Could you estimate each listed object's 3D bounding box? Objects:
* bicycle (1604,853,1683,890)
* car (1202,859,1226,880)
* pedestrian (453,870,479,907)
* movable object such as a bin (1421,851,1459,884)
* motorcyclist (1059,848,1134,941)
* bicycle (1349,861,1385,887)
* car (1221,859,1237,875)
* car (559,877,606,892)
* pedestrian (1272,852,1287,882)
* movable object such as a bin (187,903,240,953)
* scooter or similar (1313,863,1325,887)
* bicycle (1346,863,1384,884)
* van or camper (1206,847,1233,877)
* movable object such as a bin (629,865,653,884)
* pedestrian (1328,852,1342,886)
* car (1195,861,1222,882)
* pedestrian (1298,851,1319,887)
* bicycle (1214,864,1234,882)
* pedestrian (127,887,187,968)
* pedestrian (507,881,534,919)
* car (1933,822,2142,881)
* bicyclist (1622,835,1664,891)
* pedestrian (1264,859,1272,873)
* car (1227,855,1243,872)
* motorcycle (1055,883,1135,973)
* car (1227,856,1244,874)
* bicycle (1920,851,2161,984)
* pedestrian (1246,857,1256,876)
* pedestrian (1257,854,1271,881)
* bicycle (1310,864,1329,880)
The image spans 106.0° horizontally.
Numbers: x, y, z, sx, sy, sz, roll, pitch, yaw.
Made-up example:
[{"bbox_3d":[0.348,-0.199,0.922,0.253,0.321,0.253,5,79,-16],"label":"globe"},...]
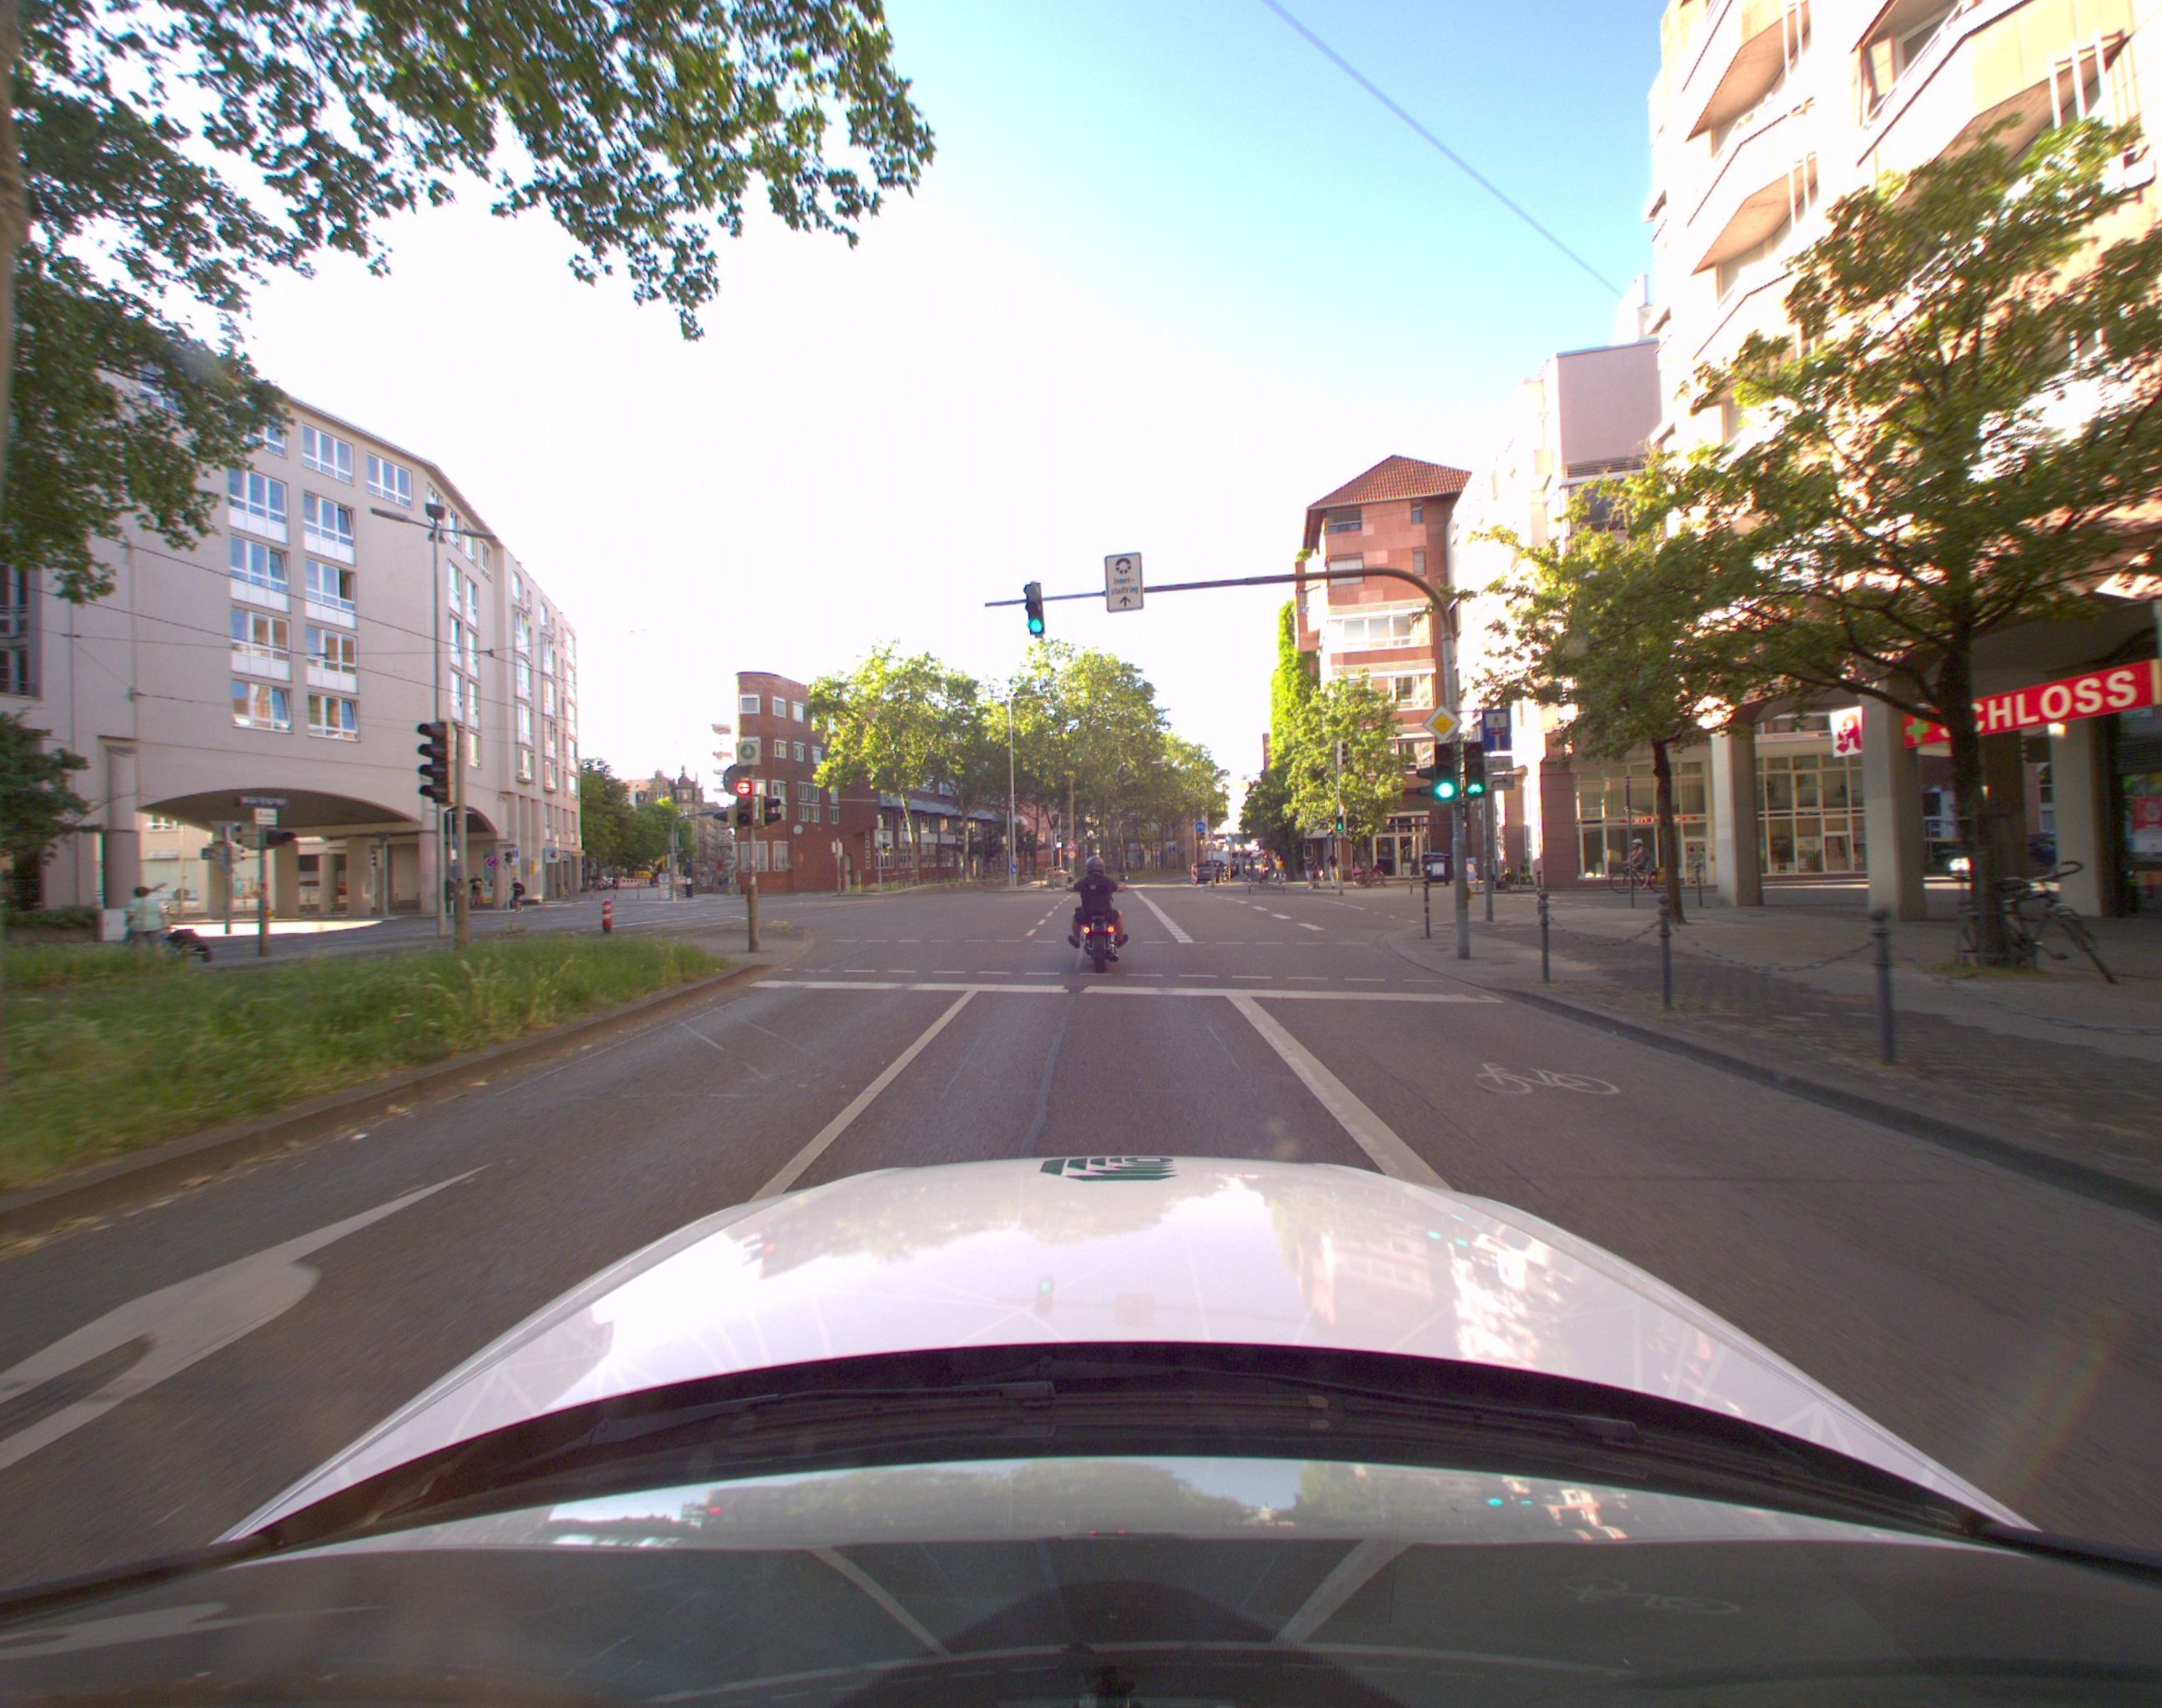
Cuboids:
[{"bbox_3d":[18.176,0.556,26.357,1.903,1.113,0.806,-2,-1,10],"label":"bicycle"},{"bbox_3d":[10.785,1.218,65.906,1.609,1.619,4.499,-2,-1,12],"label":"car"},{"bbox_3d":[-34.770,1.937,46.041,0.836,2.014,0.883,-1,-1,-15],"label":"pedestrian"},{"bbox_3d":[16.260,0.607,36.930,1.400,1.482,0.875,-2,-1,14],"label":"movable object such as a bin"},{"bbox_3d":[0.238,0.555,11.535,1.007,1.263,0.775,1,0,4],"label":"motorcyclist"},{"bbox_3d":[13.910,0.955,39.633,1.558,1.227,0.579,-2,-1,8],"label":"bicycle"},{"bbox_3d":[15.473,1.310,85.062,1.610,1.610,3.785,-2,-1,10],"label":"car"},{"bbox_3d":[-50.655,3.102,82.881,4.013,1.400,1.980,-1,-1,-31],"label":"car"},{"bbox_3d":[11.426,0.751,46.978,0.697,1.733,0.769,-2,-1,6],"label":"pedestrian"},{"bbox_3d":[-17.293,1.465,16.243,0.506,0.953,0.542,-2,-1,15],"label":"movable object such as a bin"},{"bbox_3d":[11.876,1.039,40.610,0.392,1.158,1.252,-2,-1,8],"label":"scooter or similar"},{"bbox_3d":[14.878,1.024,42.664,1.730,1.053,0.744,-2,-1,30],"label":"bicycle"},{"bbox_3d":[12.357,0.715,72.288,2.035,2.541,5.792,-2,-1,12],"label":"van or camper"},{"bbox_3d":[-55.764,2.589,103.252,1.928,2.310,2.776,-2,-1,-12],"label":"movable object such as a bin"},{"bbox_3d":[12.484,0.734,40.078,0.457,1.672,0.681,-2,-1,4],"label":"pedestrian"},{"bbox_3d":[8.763,1.175,55.747,1.610,1.302,4.324,-2,-1,11],"label":"car"},{"bbox_3d":[11.314,0.763,40.503,0.783,1.763,0.610,-2,-1,0],"label":"pedestrian"},{"bbox_3d":[8.567,1.126,48.837,0.736,1.053,1.748,-2,-1,-7],"label":"bicycle"},{"bbox_3d":[-17.823,1.412,15.713,0.613,1.503,0.537,-2,-1,15],"label":"pedestrian"},{"bbox_3d":[-28.680,2.348,41.695,0.848,1.869,0.756,-2,-1,19],"label":"pedestrian"},{"bbox_3d":[30.947,-0.050,26.487,4.158,1.722,1.807,-2,-1,10],"label":"car"},{"bbox_3d":[18.184,0.296,26.355,0.820,1.770,0.790,-2,-1,10],"label":"bicyclist"},{"bbox_3d":[19.090,1.246,83.029,0.760,1.445,0.782,-1,-1,11],"label":"pedestrian"},{"bbox_3d":[19.248,1.165,101.398,1.823,2.014,4.402,-2,-1,12],"label":"car"},{"bbox_3d":[0.249,1.013,11.721,1.013,1.097,2.010,-1,0,4],"label":"motorcycle"},{"bbox_3d":[18.102,1.228,95.398,1.823,2.014,4.402,-2,-1,12],"label":"car"},{"bbox_3d":[9.891,0.596,8.524,0.617,1.226,1.934,-2,-1,15],"label":"bicycle"},{"bbox_3d":[15.154,1.124,72.585,0.759,1.645,0.548,-2,-1,5],"label":"pedestrian"},{"bbox_3d":[10.632,0.773,47.330,0.641,1.578,0.749,-2,-1,6],"label":"pedestrian"},{"bbox_3d":[14.027,1.045,47.896,0.733,0.939,1.755,-2,-1,7],"label":"bicycle"}]
